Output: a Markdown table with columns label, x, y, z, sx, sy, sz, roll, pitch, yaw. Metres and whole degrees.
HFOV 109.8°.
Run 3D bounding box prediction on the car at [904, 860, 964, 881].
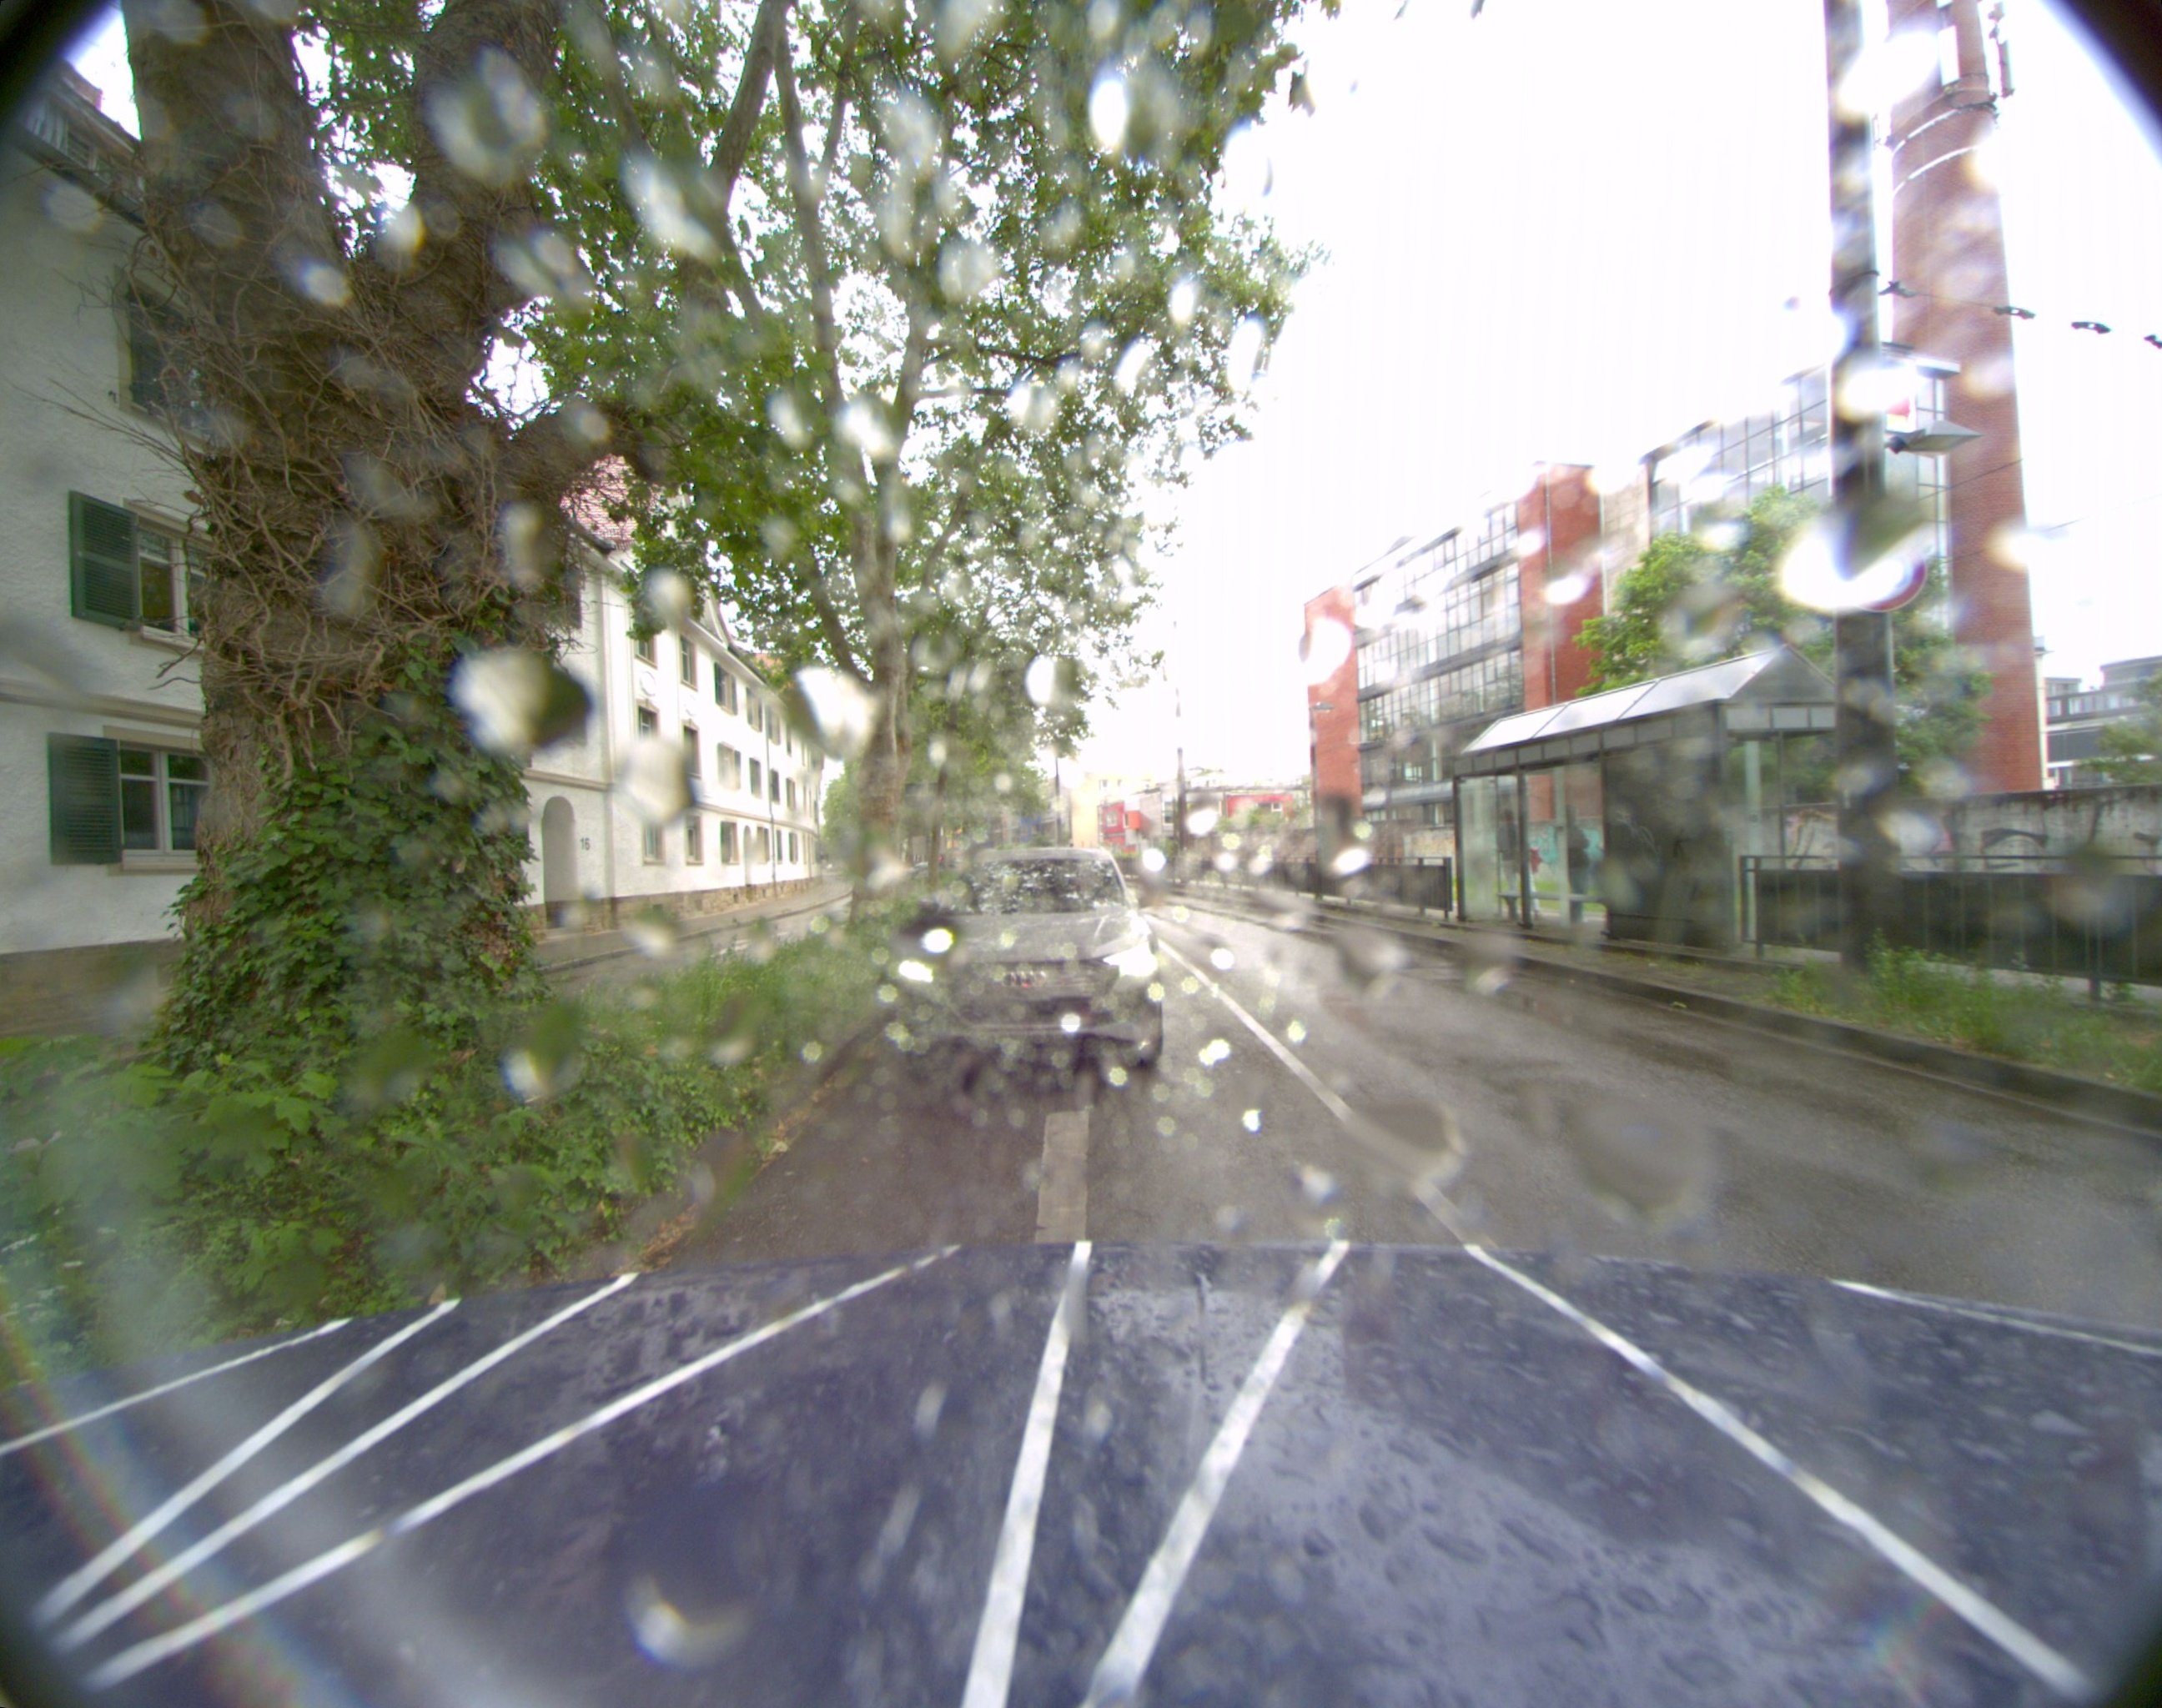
| label | x | y | z | sx | sy | sz | roll | pitch | yaw |
| --- | --- | --- | --- | --- | --- | --- | --- | --- | --- |
| car | -11.523 | 1.279 | 59.658 | 4.224 | 1.532 | 1.932 | -1 | 0 | 11 |

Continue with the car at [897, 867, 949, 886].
| label | x | y | z | sx | sy | sz | roll | pitch | yaw |
| --- | --- | --- | --- | --- | --- | --- | --- | --- | --- |
| car | -14.587 | 2.068 | 70.229 | 4.328 | 1.603 | 1.749 | -1 | 0 | 6 |

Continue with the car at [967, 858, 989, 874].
| label | x | y | z | sx | sy | sz | roll | pitch | yaw |
| --- | --- | --- | --- | --- | --- | --- | --- | --- | --- |
| car | -11.865 | 1.345 | 87.121 | 1.694 | 1.713 | 3.685 | -1 | 0 | -20 |

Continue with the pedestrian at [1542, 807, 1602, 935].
| label | x | y | z | sx | sy | sz | roll | pitch | yaw |
| --- | --- | --- | --- | --- | --- | --- | --- | --- | --- |
| pedestrian | 6.859 | 0.230 | 10.613 | 0.584 | 1.721 | 0.566 | -1 | 1 | -43 |

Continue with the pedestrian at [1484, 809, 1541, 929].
| label | x | y | z | sx | sy | sz | roll | pitch | yaw |
| --- | --- | --- | --- | --- | --- | --- | --- | --- | --- |
| pedestrian | 6.428 | 0.219 | 11.311 | 0.584 | 1.721 | 0.566 | -1 | 1 | -41 |

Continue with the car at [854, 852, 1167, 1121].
| label | x | y | z | sx | sy | sz | roll | pitch | yaw |
| --- | --- | --- | --- | --- | --- | --- | --- | --- | --- |
| car | -0.345 | 0.804 | 6.704 | 1.850 | 1.586 | 4.217 | -2 | 0 | 2 |

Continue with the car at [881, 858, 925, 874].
| label | x | y | z | sx | sy | sz | roll | pitch | yaw |
| --- | --- | --- | --- | --- | --- | --- | --- | --- | --- |
| car | -22.202 | 1.496 | 94.781 | 4.884 | 2.002 | 2.002 | -1 | 0 | 11 |
